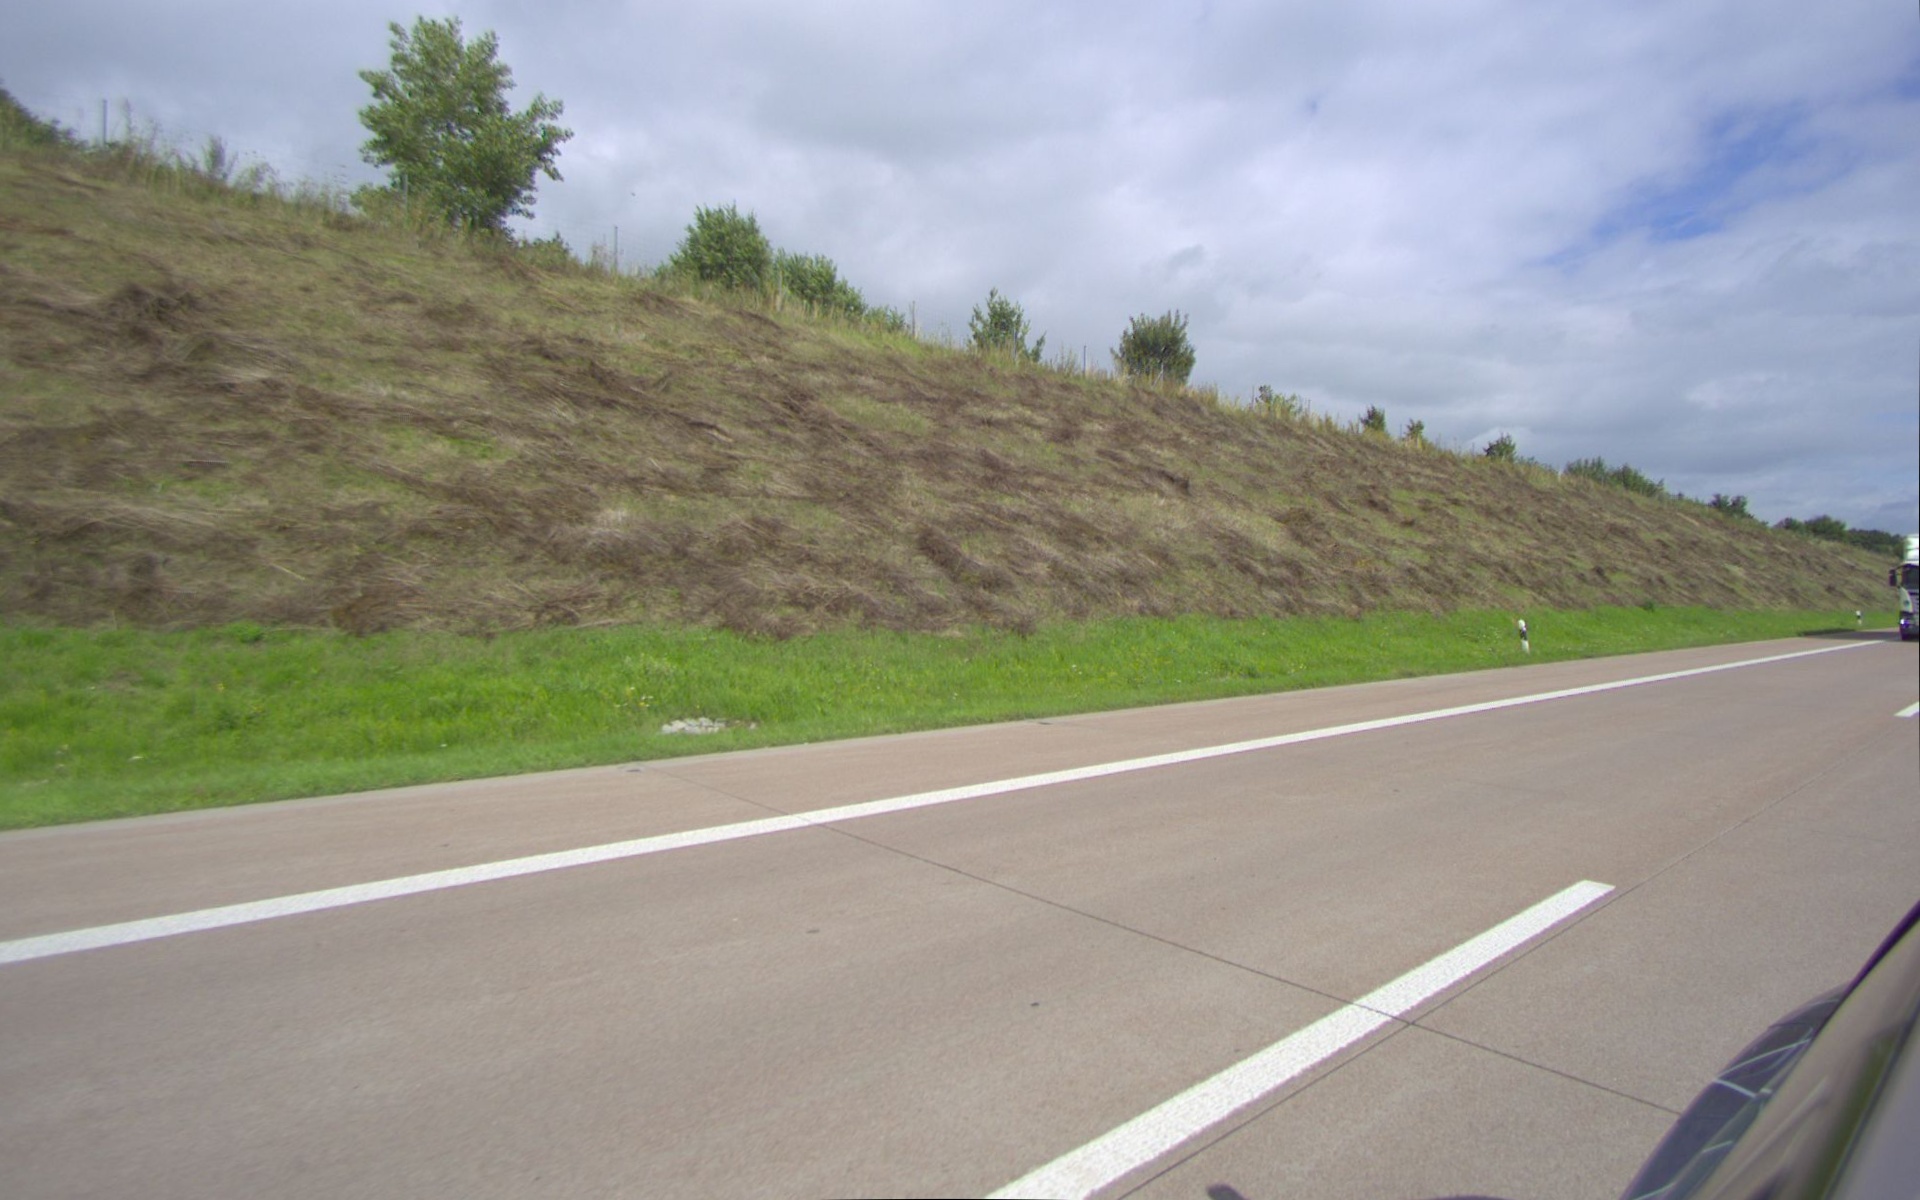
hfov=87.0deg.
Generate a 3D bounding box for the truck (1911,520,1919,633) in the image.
[{"bbox_3d":[38.476,-0.833,38.530,6.500,4.157,2.679,0,0,-41],"label":"truck"}]
